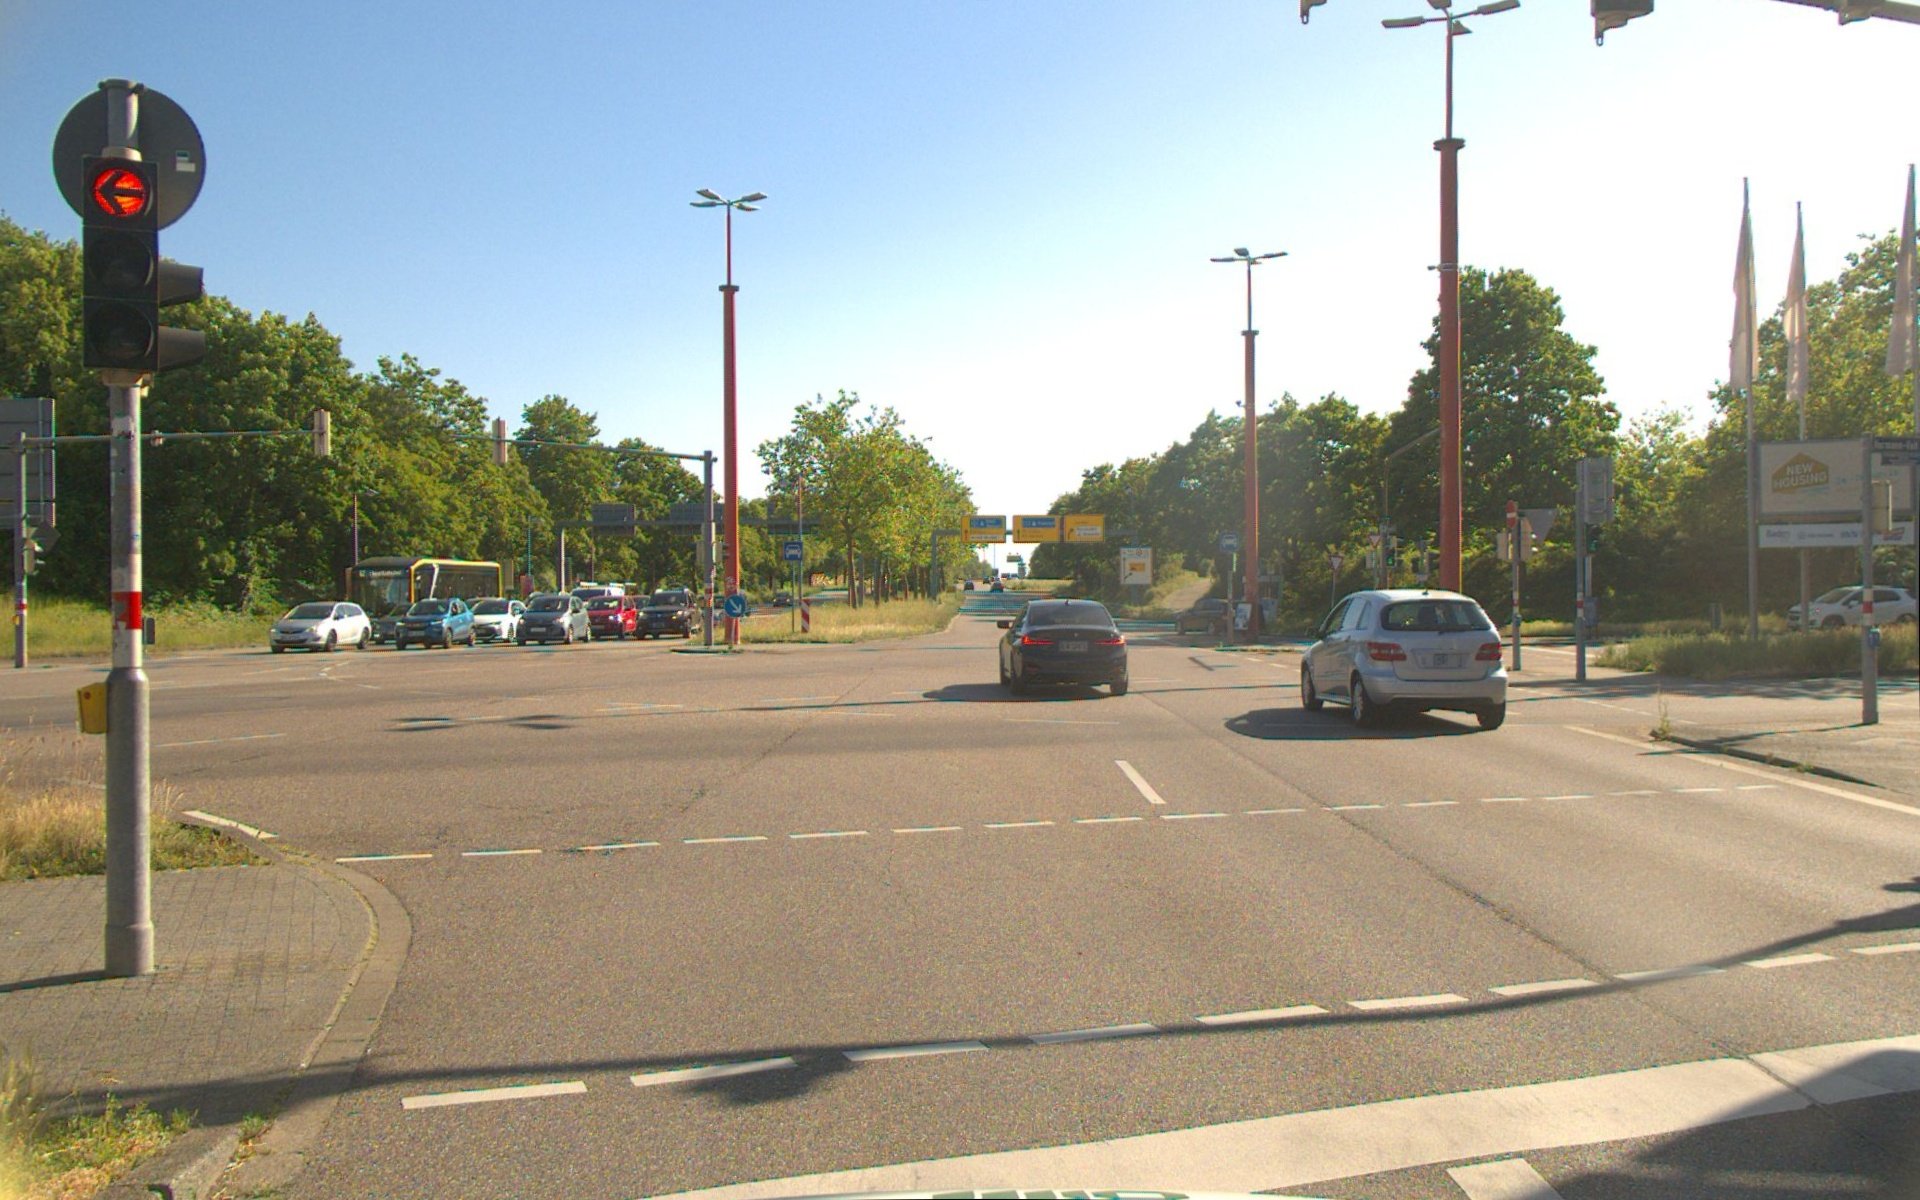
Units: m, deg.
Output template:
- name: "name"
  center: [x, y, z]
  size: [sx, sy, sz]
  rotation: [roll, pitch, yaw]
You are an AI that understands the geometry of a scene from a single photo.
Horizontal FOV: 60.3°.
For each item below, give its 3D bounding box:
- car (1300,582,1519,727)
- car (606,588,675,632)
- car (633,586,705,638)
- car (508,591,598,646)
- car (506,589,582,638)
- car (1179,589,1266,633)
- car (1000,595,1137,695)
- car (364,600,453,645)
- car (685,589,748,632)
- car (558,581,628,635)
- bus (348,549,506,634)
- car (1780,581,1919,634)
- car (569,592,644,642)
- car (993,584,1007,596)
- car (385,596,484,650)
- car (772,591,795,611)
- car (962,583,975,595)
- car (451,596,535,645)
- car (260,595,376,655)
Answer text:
- name: "car"
  center: [5.564, 0.636, 20.933]
  size: [1.681, 1.636, 3.846]
  rotation: [1, 0, -1]
- name: "car"
  center: [-12.408, 0.370, 64.425]
  size: [1.862, 1.658, 4.000]
  rotation: [0, 0, 1]
- name: "car"
  center: [-9.841, 0.388, 56.205]
  size: [1.757, 1.654, 4.142]
  rotation: [-2, 0, -2]
- name: "car"
  center: [-12.771, 0.554, 52.082]
  size: [1.836, 1.577, 4.027]
  rotation: [-2, 1, -1]
- name: "car"
  center: [-15.925, 0.499, 63.516]
  size: [1.835, 1.815, 4.000]
  rotation: [-1, 0, 1]
- name: "car"
  center: [10.477, 0.427, 66.323]
  size: [1.736, 1.664, 4.277]
  rotation: [1, 0, -17]
- name: "car"
  center: [1.661, 0.675, 26.630]
  size: [1.728, 1.466, 4.292]
  rotation: [1, 0, -3]
- name: "car"
  center: [-19.891, 0.778, 59.787]
  size: [1.846, 1.539, 4.000]
  rotation: [-1, 0, 0]
- name: "car"
  center: [-9.353, 0.377, 63.691]
  size: [1.847, 1.570, 3.999]
  rotation: [-2, 0, -1]
- name: "car"
  center: [-15.624, 0.334, 70.581]
  size: [1.922, 2.193, 5.080]
  rotation: [-1, 0, -1]
- name: "bus"
  center: [-22.801, -0.311, 71.719]
  size: [2.591, 3.318, 12.536]
  rotation: [1, 0, 1]
- name: "car"
  center: [29.669, 0.238, 54.788]
  size: [4.199, 1.664, 1.768]
  rotation: [0, 0, -4]
- name: "car"
  center: [-12.448, 0.586, 58.425]
  size: [1.838, 1.579, 3.998]
  rotation: [-3, 0, -2]
- name: "car"
  center: [6.206, -1.561, 255.169]
  size: [1.953, 1.764, 3.999]
  rotation: [1, 0, -1]
- name: "car"
  center: [-16.106, 0.686, 50.870]
  size: [1.764, 1.542, 3.858]
  rotation: [-2, 0, 0]
- name: "car"
  center: [-17.866, 0.071, 167.884]
  size: [1.881, 2.034, 4.602]
  rotation: [0, 0, -1]
- name: "car"
  center: [1.406, -1.753, 263.381]
  size: [1.953, 1.764, 3.999]
  rotation: [1, 0, -1]
- name: "car"
  center: [-16.034, 0.666, 57.021]
  size: [1.863, 1.582, 3.998]
  rotation: [-1, 0, -2]
- name: "car"
  center: [-19.544, 0.741, 50.534]
  size: [1.838, 1.681, 4.219]
  rotation: [-1, 0, 0]
